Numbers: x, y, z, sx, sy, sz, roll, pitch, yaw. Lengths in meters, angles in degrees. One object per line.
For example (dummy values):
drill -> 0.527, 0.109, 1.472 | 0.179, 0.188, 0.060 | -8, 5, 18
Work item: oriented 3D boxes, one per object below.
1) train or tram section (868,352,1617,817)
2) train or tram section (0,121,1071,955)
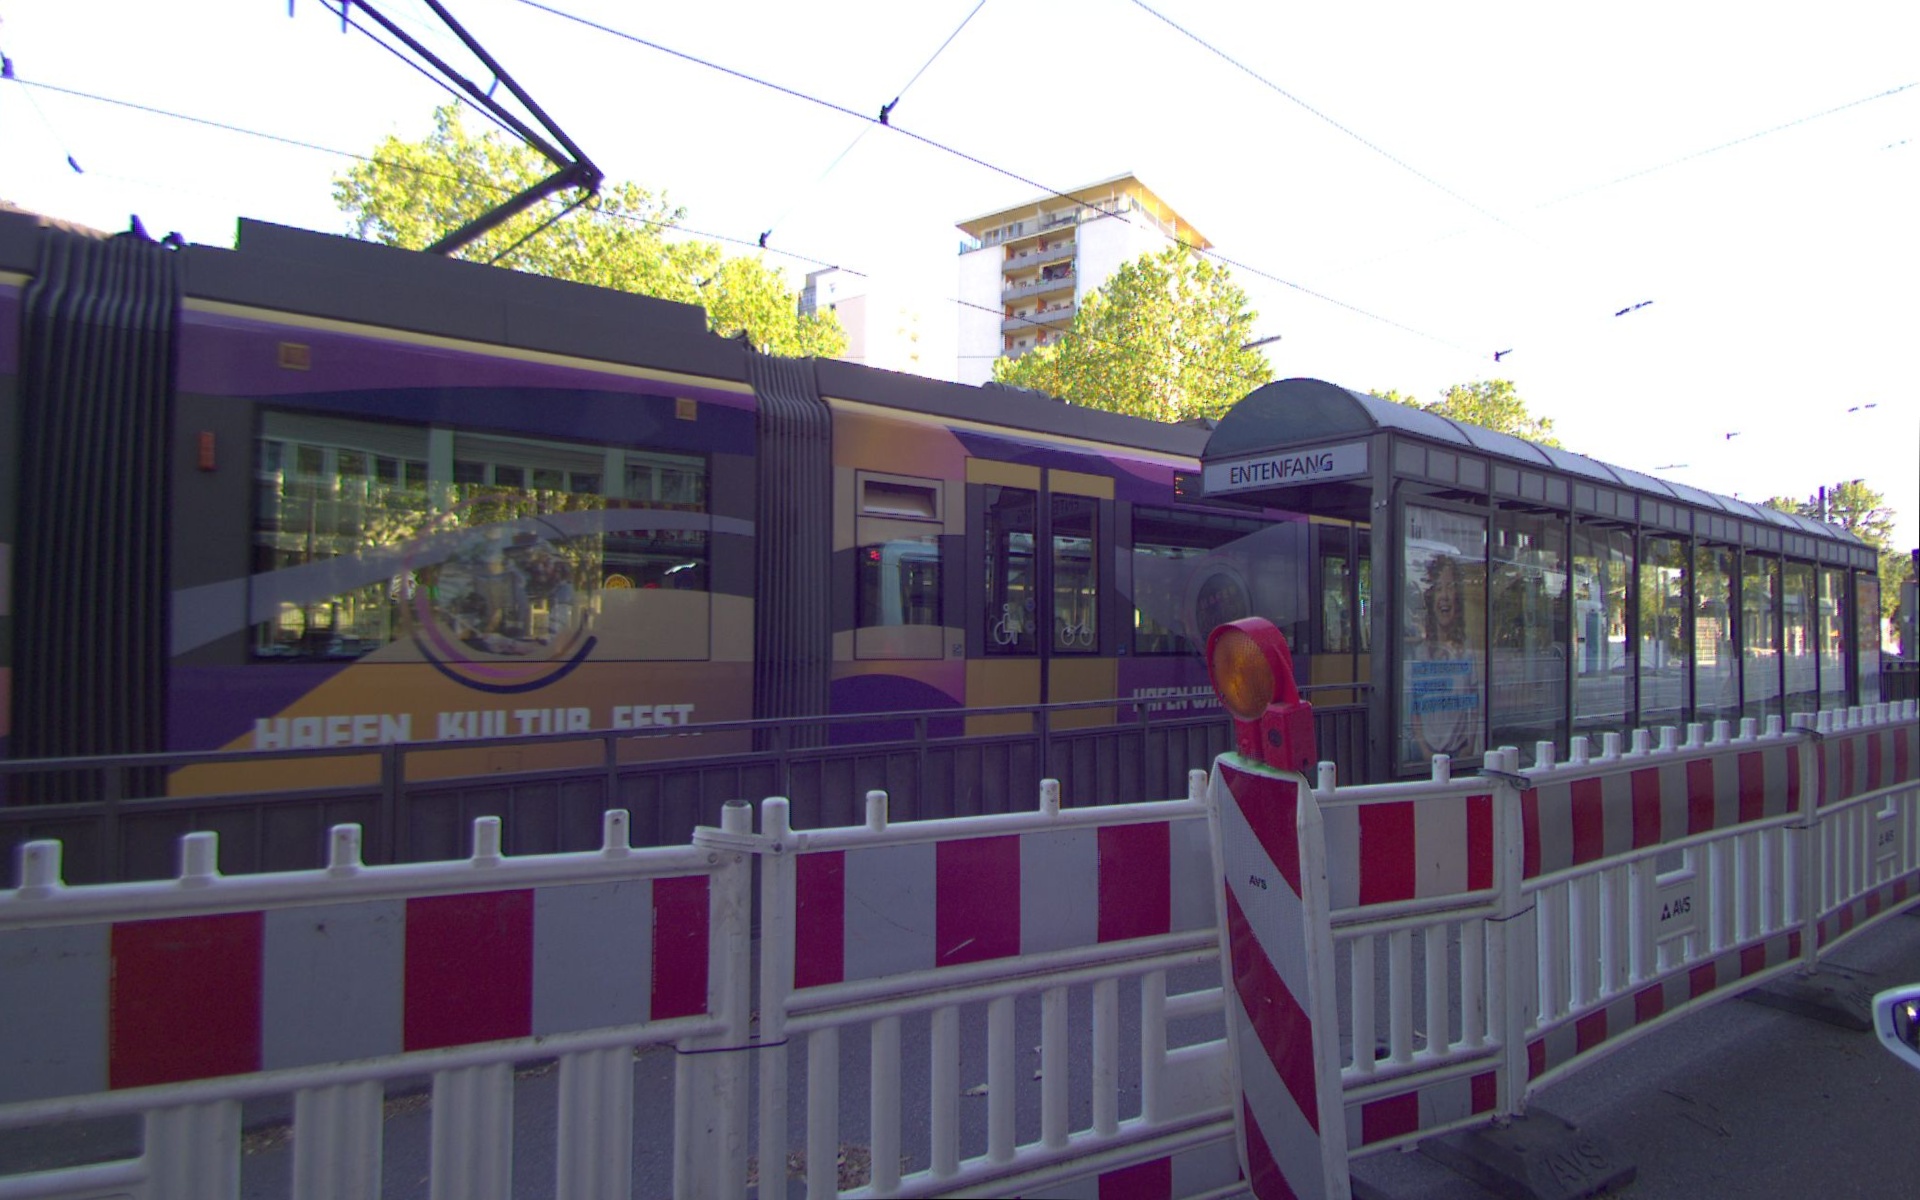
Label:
train or tram section -> 4.040, 0.027, 11.808 | 10.240, 3.533, 2.797 | 2, -1, -36
train or tram section -> -4.186, -0.229, 5.878 | 10.231, 3.533, 2.818 | 2, -1, -34
